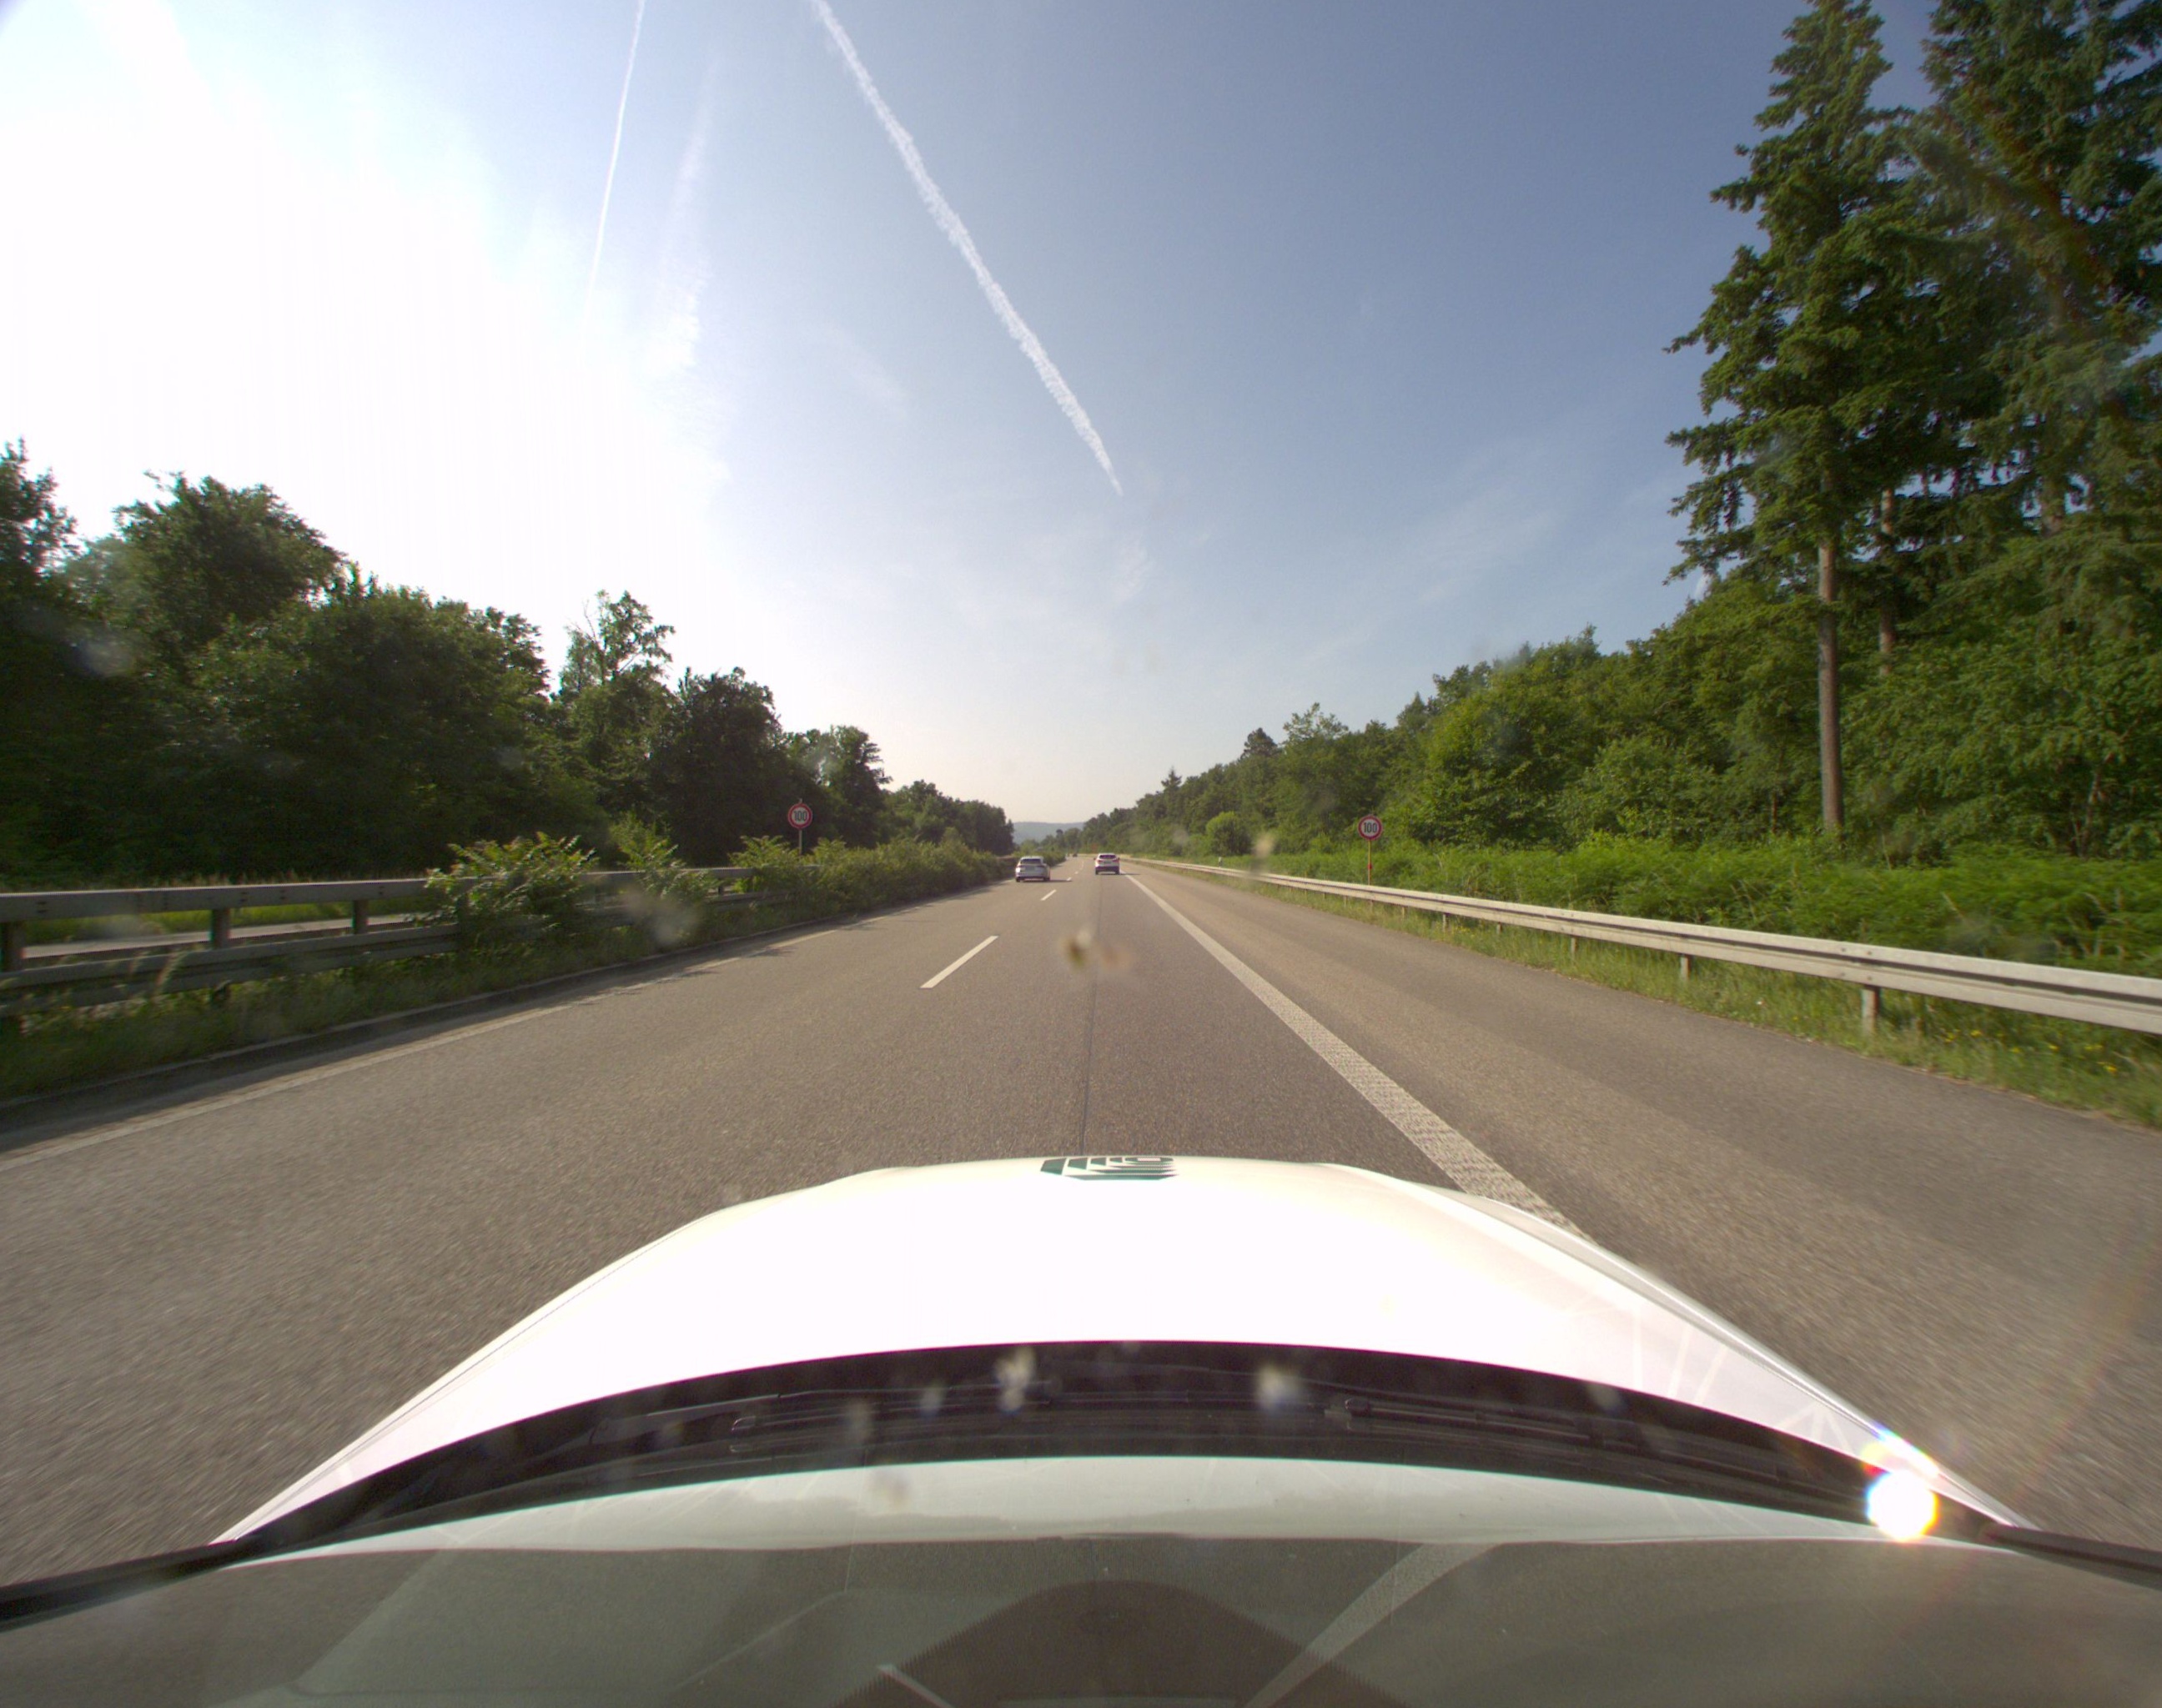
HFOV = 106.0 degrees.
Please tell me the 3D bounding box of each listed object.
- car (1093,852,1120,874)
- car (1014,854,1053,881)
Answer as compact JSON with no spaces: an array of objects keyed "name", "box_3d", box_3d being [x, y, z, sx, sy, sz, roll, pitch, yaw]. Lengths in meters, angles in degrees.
[{"name":"car","box_3d":[1.873,0.656,61.600,1.867,1.586,3.999,1,1,0]},{"name":"car","box_3d":[-2.720,0.745,47.552,1.785,1.438,5.280,-2,0,2]}]
